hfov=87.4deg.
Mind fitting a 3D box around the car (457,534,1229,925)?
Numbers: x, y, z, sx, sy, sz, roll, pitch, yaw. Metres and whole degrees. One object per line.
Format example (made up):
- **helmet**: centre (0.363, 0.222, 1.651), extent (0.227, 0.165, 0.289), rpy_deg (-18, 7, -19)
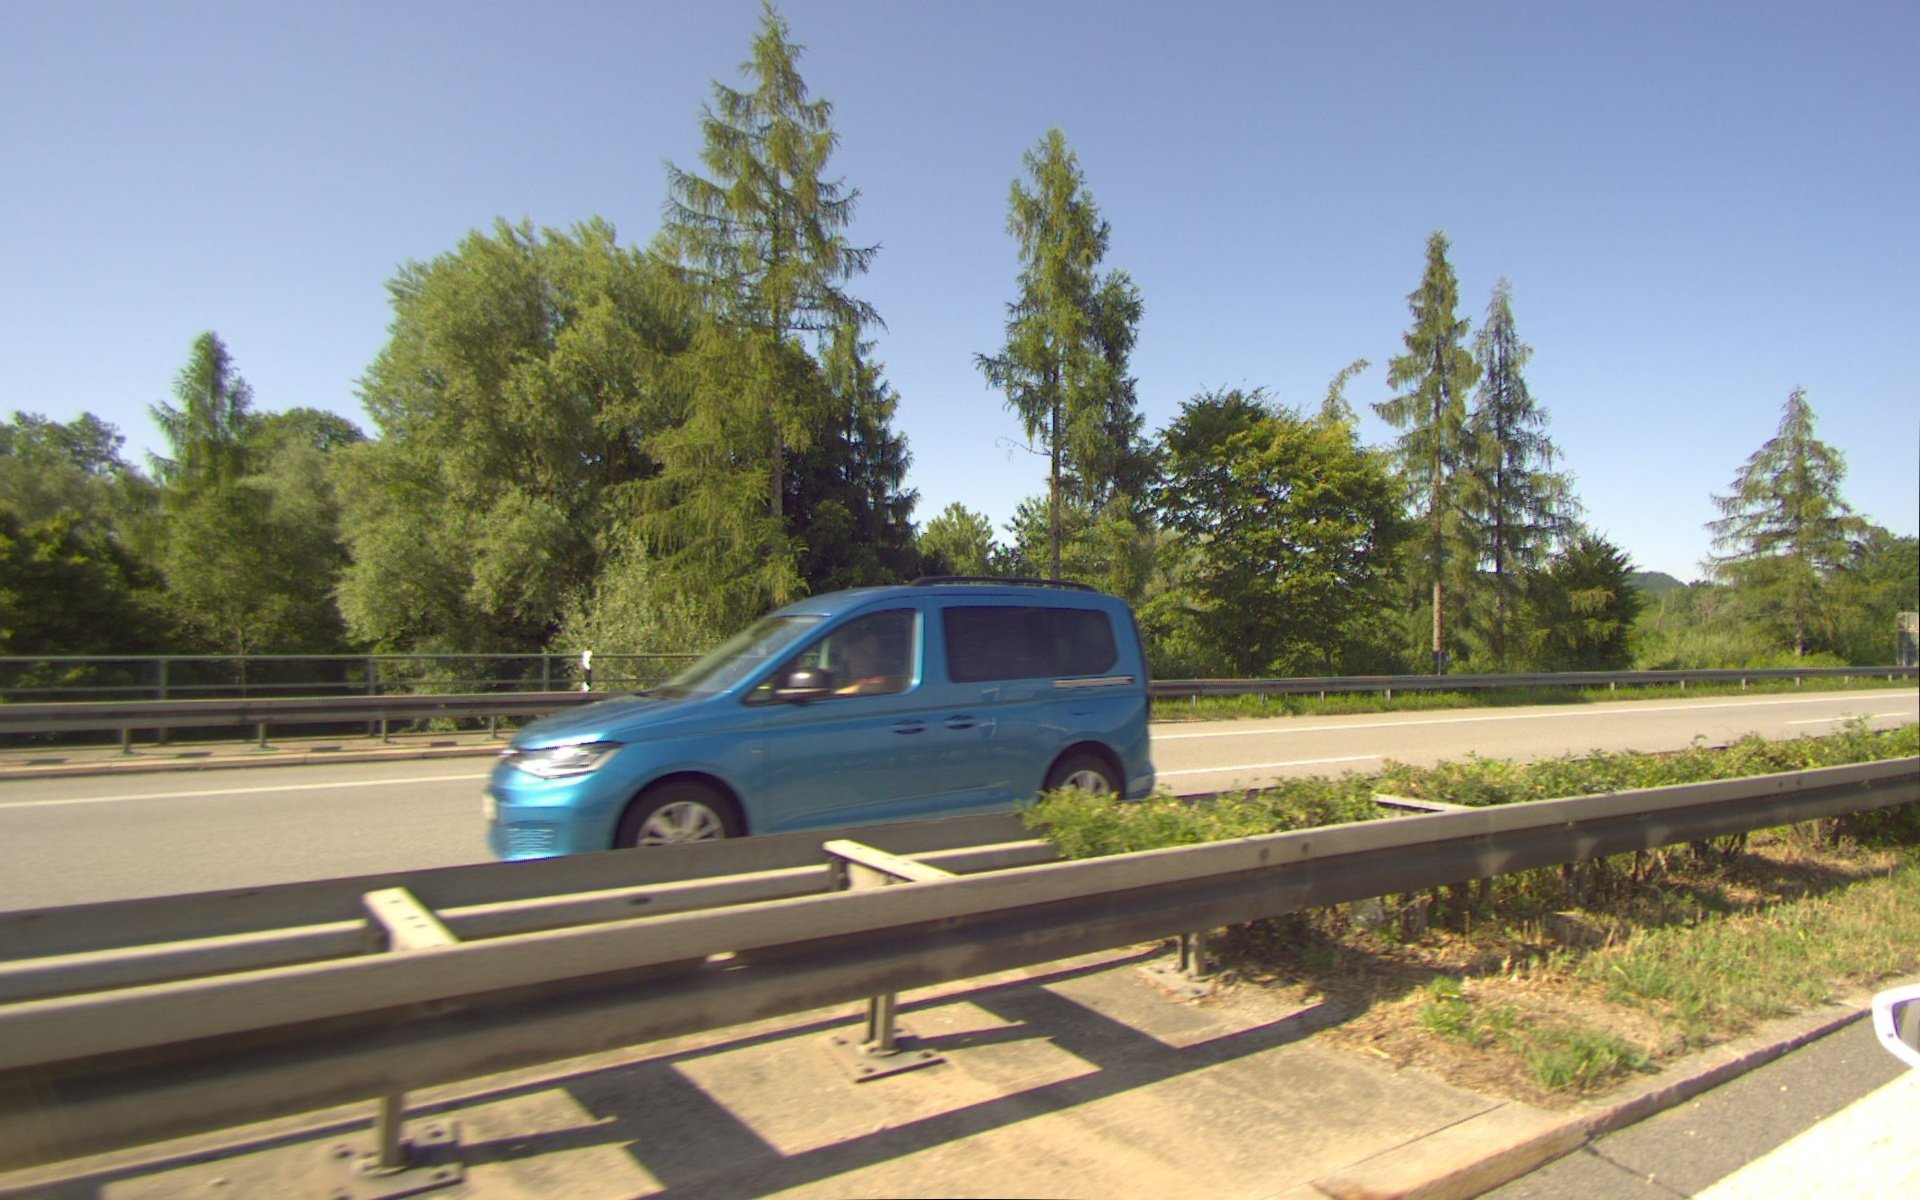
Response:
- **car**: centre (-0.600, 0.708, 6.847), extent (4.952, 1.873, 1.746), rpy_deg (2, -3, -30)
